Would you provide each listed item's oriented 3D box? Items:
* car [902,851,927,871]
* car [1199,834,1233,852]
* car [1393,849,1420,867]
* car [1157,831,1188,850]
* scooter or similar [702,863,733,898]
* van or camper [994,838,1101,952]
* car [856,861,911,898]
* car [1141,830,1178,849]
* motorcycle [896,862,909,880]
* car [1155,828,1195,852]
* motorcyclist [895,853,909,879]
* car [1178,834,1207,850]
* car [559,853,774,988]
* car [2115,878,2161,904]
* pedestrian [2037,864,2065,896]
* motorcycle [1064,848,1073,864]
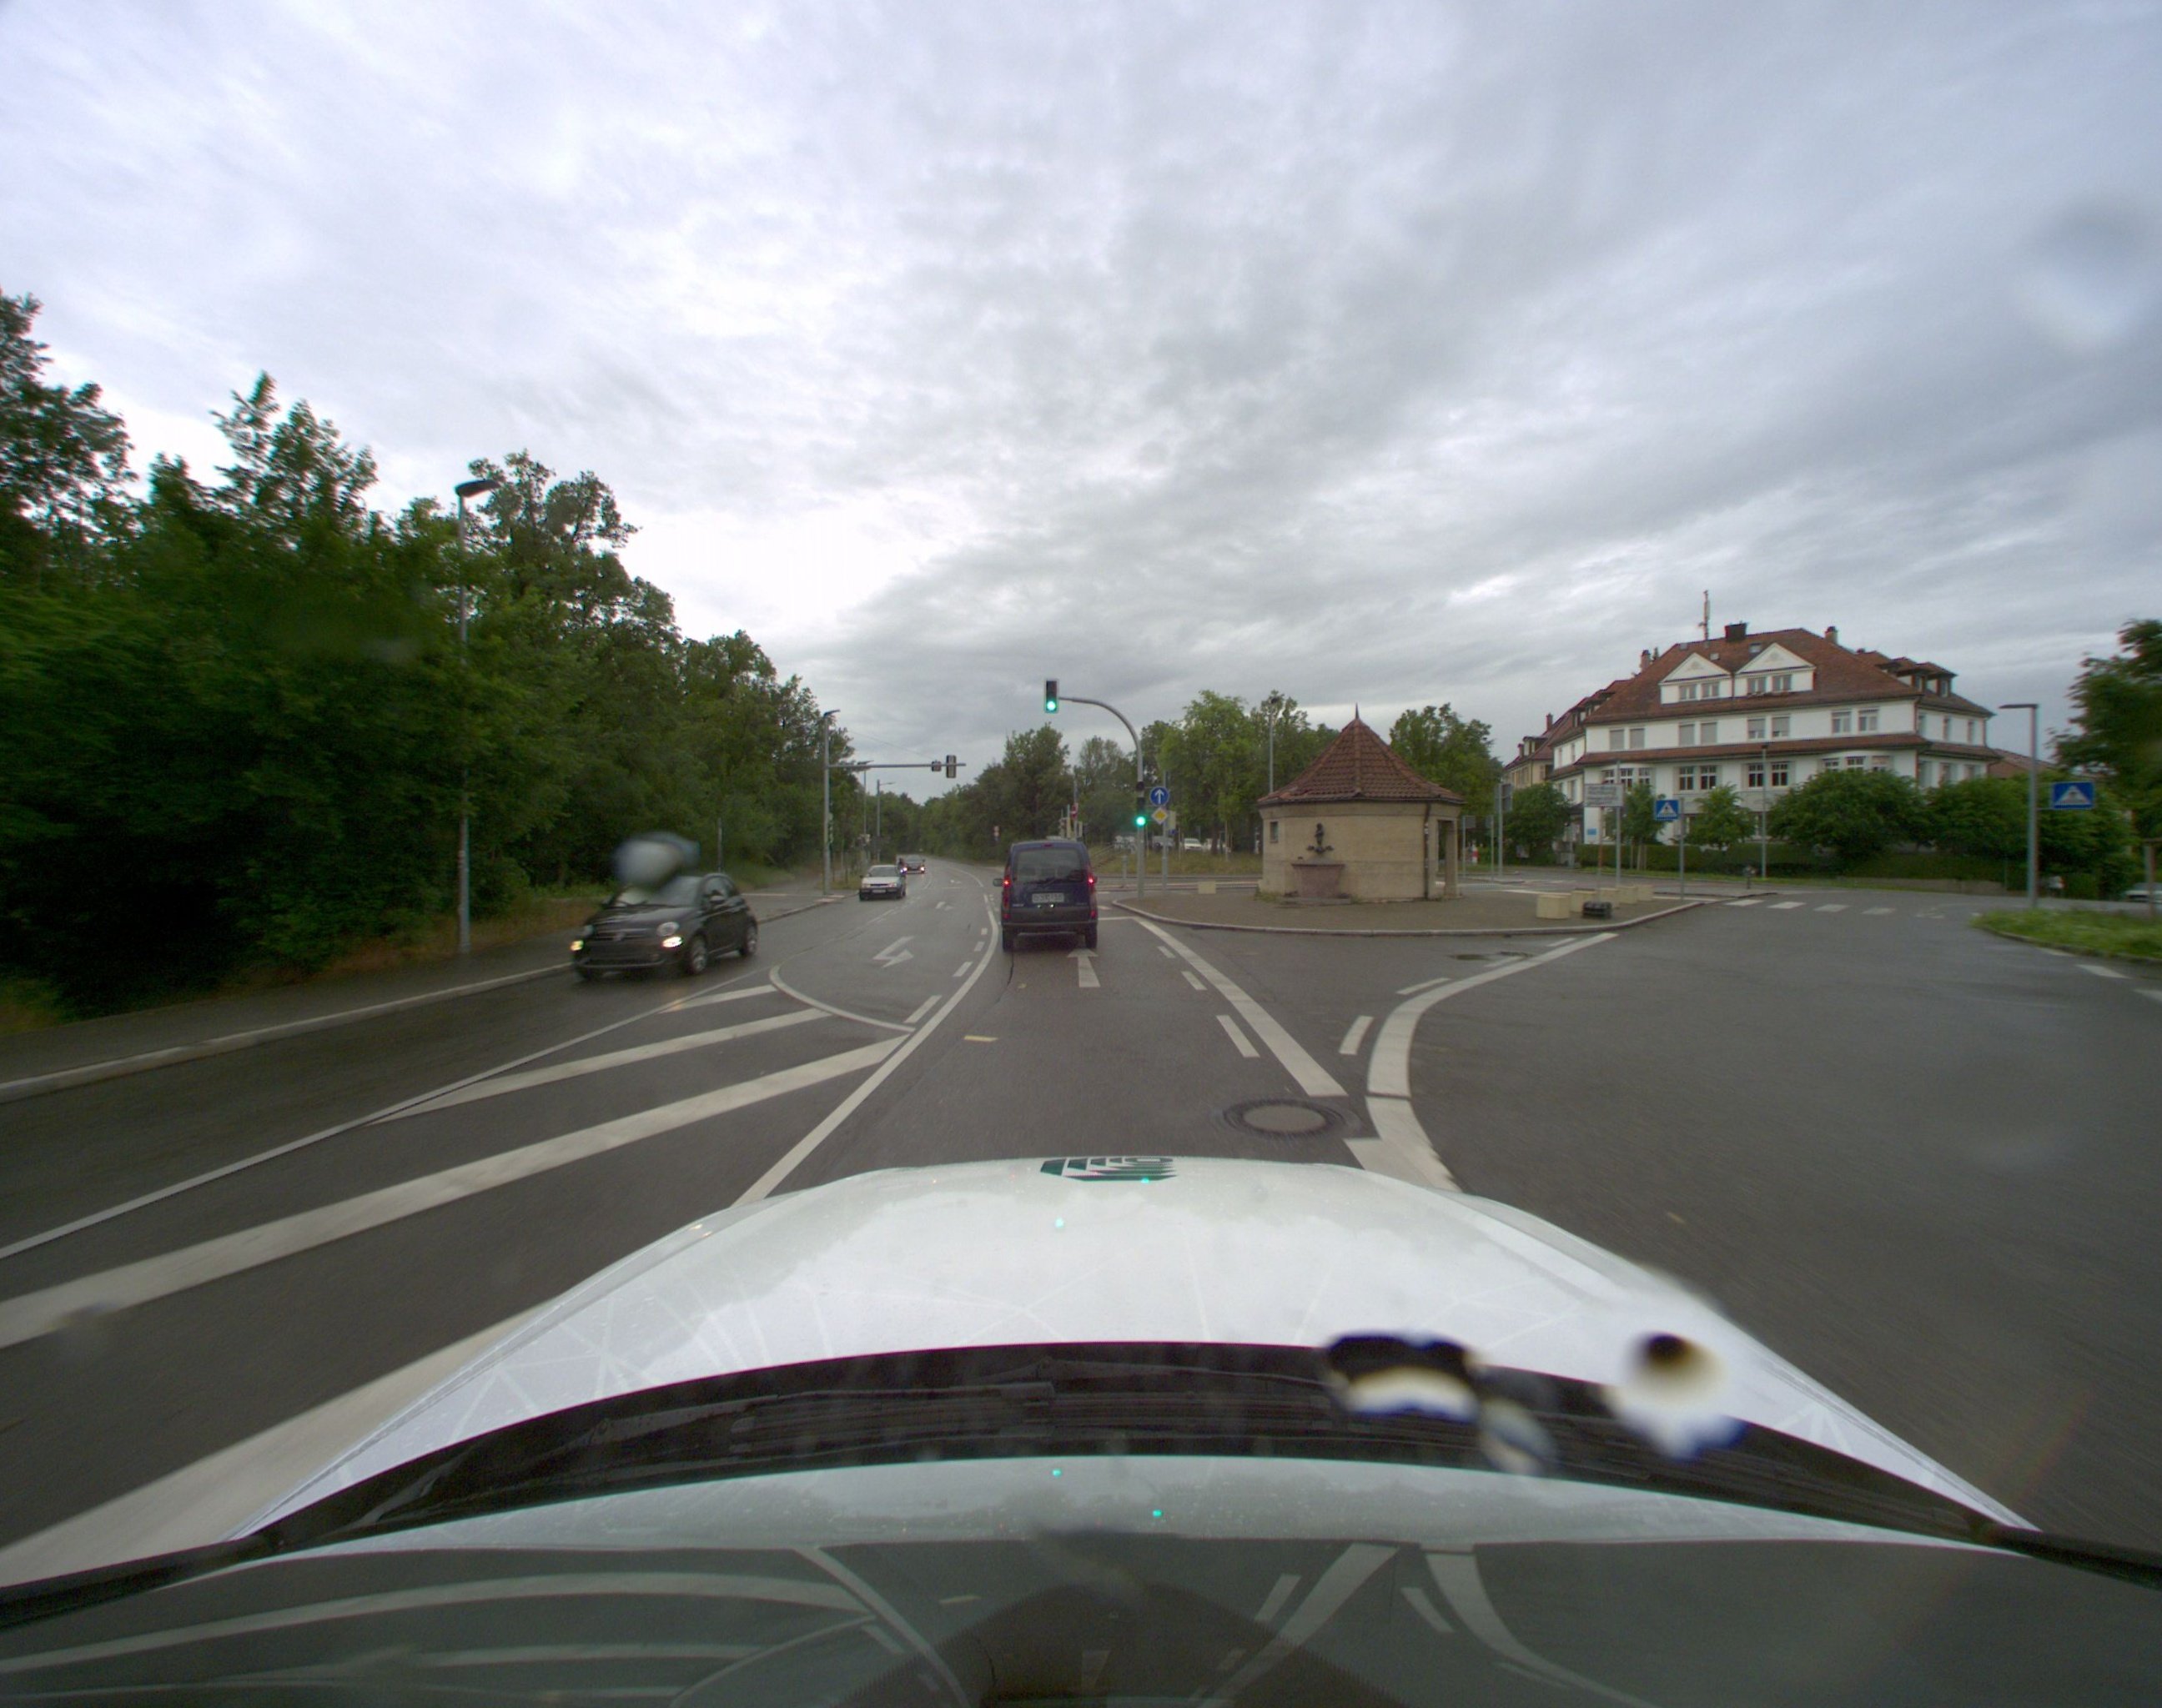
[{"bbox_3d":[-14.398,0.601,70.577,1.788,1.581,4.548,-2,1,-9],"label":"car"},{"bbox_3d":[11.422,-0.905,69.099,1.882,1.480,4.062,1,0,-4],"label":"car"},{"bbox_3d":[37.433,0.399,93.824,1.982,2.013,4.009,0,0,8],"label":"car"},{"bbox_3d":[8.562,-1.277,76.917,1.991,1.662,4.464,2,1,-6],"label":"car"},{"bbox_3d":[-13.305,0.967,29.874,0.516,1.212,1.468,0,0,-2],"label":"scooter or similar"},{"bbox_3d":[-0.599,0.646,15.080,1.708,1.826,3.997,0,0,-2],"label":"van or camper"},{"bbox_3d":[-8.355,1.022,34.754,1.739,1.352,4.199,-2,1,-7],"label":"car"},{"bbox_3d":[6.516,-1.166,68.041,1.993,1.480,4.271,1,0,-9],"label":"car"},{"bbox_3d":[-11.123,1.035,50.752,0.593,1.050,1.994,-2,1,-7],"label":"motorcycle"},{"bbox_3d":[7.197,-1.077,62.958,1.994,1.662,3.987,2,1,-10],"label":"car"},{"bbox_3d":[-11.138,0.740,50.713,0.745,1.632,0.925,-2,0,-7],"label":"motorcyclist"},{"bbox_3d":[10.858,-1.147,79.594,1.882,1.480,4.062,2,0,-5],"label":"car"},{"bbox_3d":[-6.236,0.877,12.754,1.573,1.730,3.769,-2,0,-4],"label":"car"},{"bbox_3d":[64.643,2.238,49.319,4.012,1.480,1.981,1,-1,-30],"label":"car"},{"bbox_3d":[56.135,1.483,47.144,0.694,1.837,0.817,2,-1,-15],"label":"pedestrian"},{"bbox_3d":[-1.031,0.176,67.198,0.586,1.289,1.540,-1,1,4],"label":"motorcycle"}]
